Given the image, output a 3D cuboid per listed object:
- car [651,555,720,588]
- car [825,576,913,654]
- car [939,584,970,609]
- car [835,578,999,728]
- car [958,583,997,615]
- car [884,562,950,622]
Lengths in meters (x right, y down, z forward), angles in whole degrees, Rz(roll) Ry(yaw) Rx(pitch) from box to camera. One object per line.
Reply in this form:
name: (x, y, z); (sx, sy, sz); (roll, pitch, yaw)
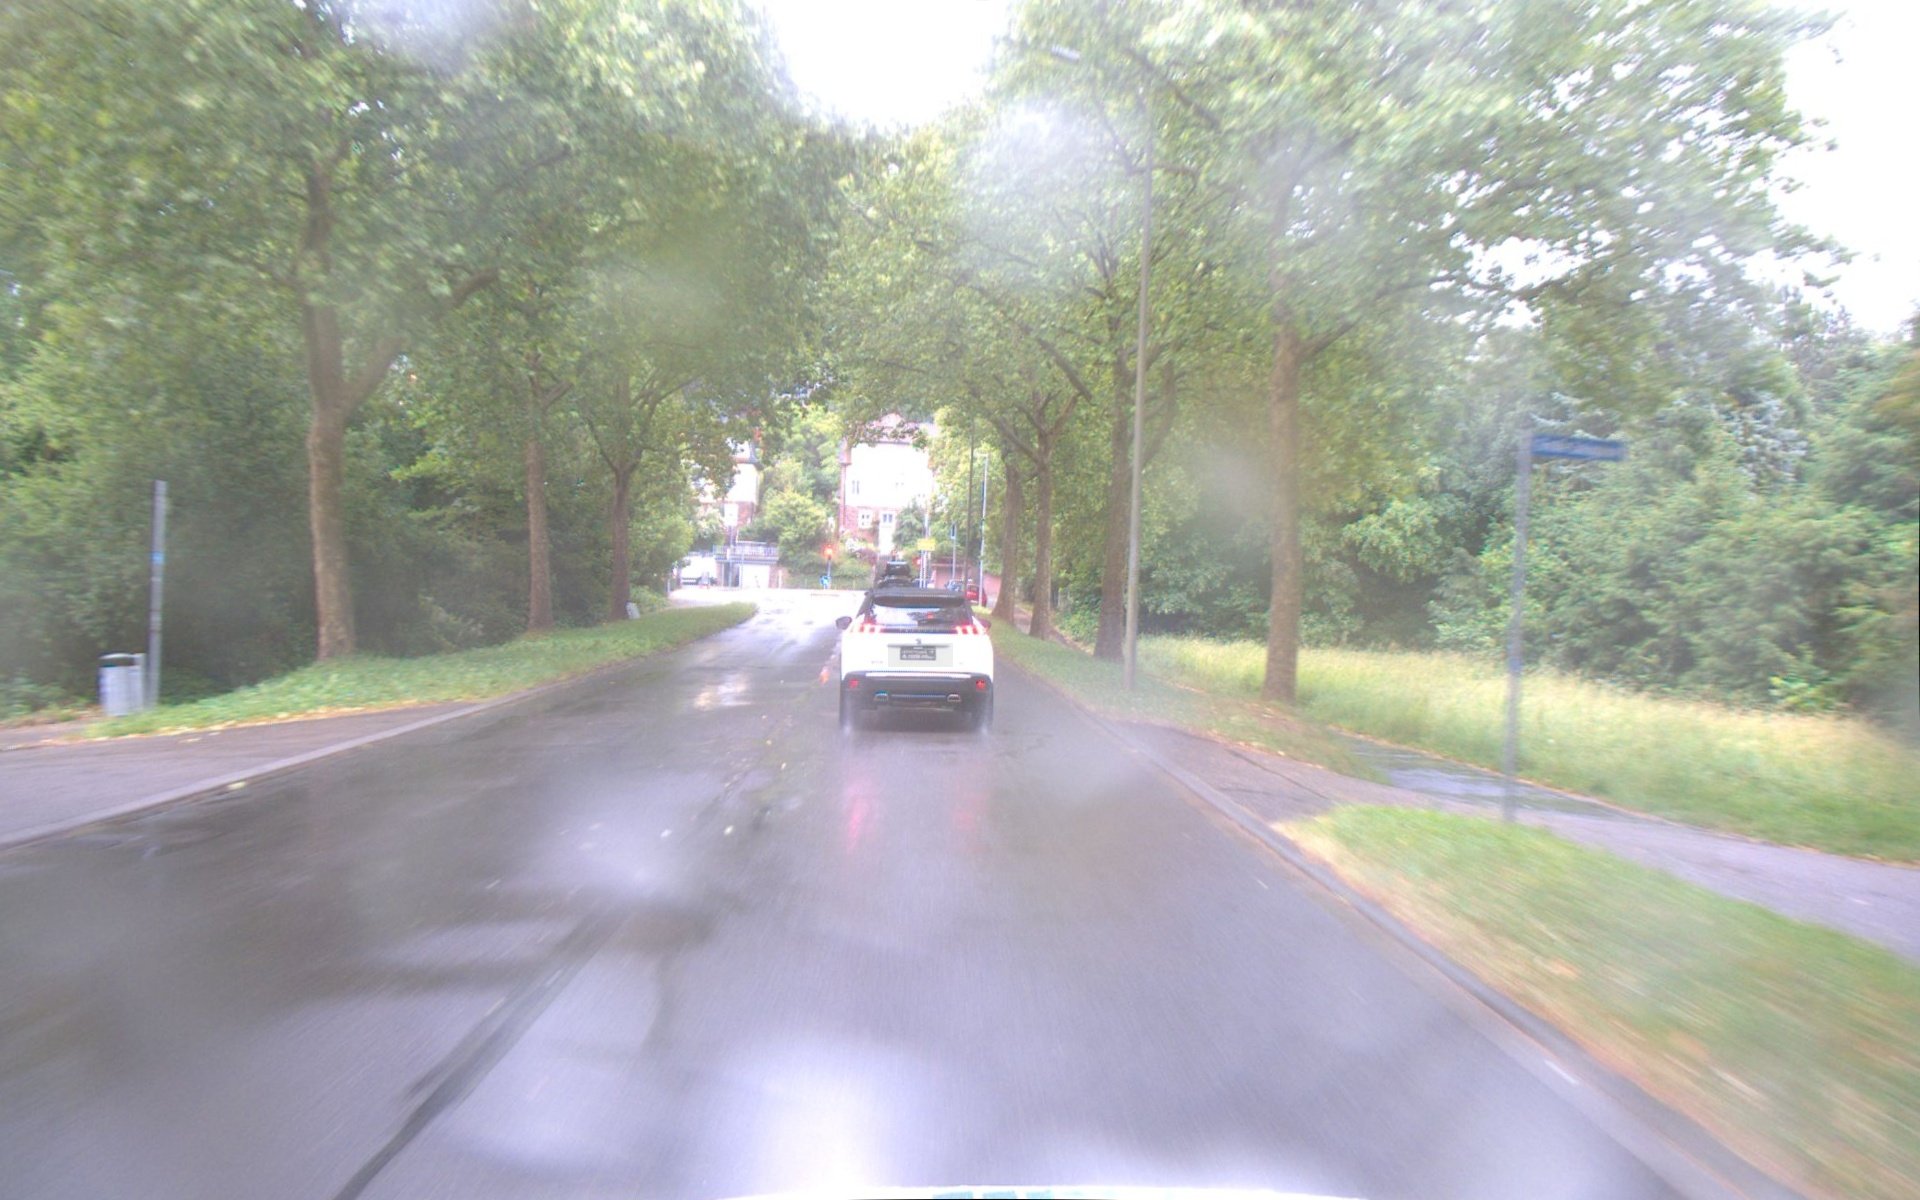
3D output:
car: (-23.816, -2.446, 143.591); (5.548, 2.537, 2.314); (3, -1, -3)
car: (-2.108, 0.286, 38.440); (1.796, 1.481, 4.656); (5, 1, -3)
car: (-0.386, -0.265, 112.562); (1.715, 1.517, 3.597); (5, 0, -4)
car: (-0.606, 0.540, 19.845); (1.718, 1.562, 4.364); (1, 1, -4)
car: (1.076, -0.090, 103.240); (1.786, 1.542, 3.739); (9, 1, -7)
car: (-1.438, -0.305, 53.622); (1.726, 1.740, 4.596); (4, 1, -6)
